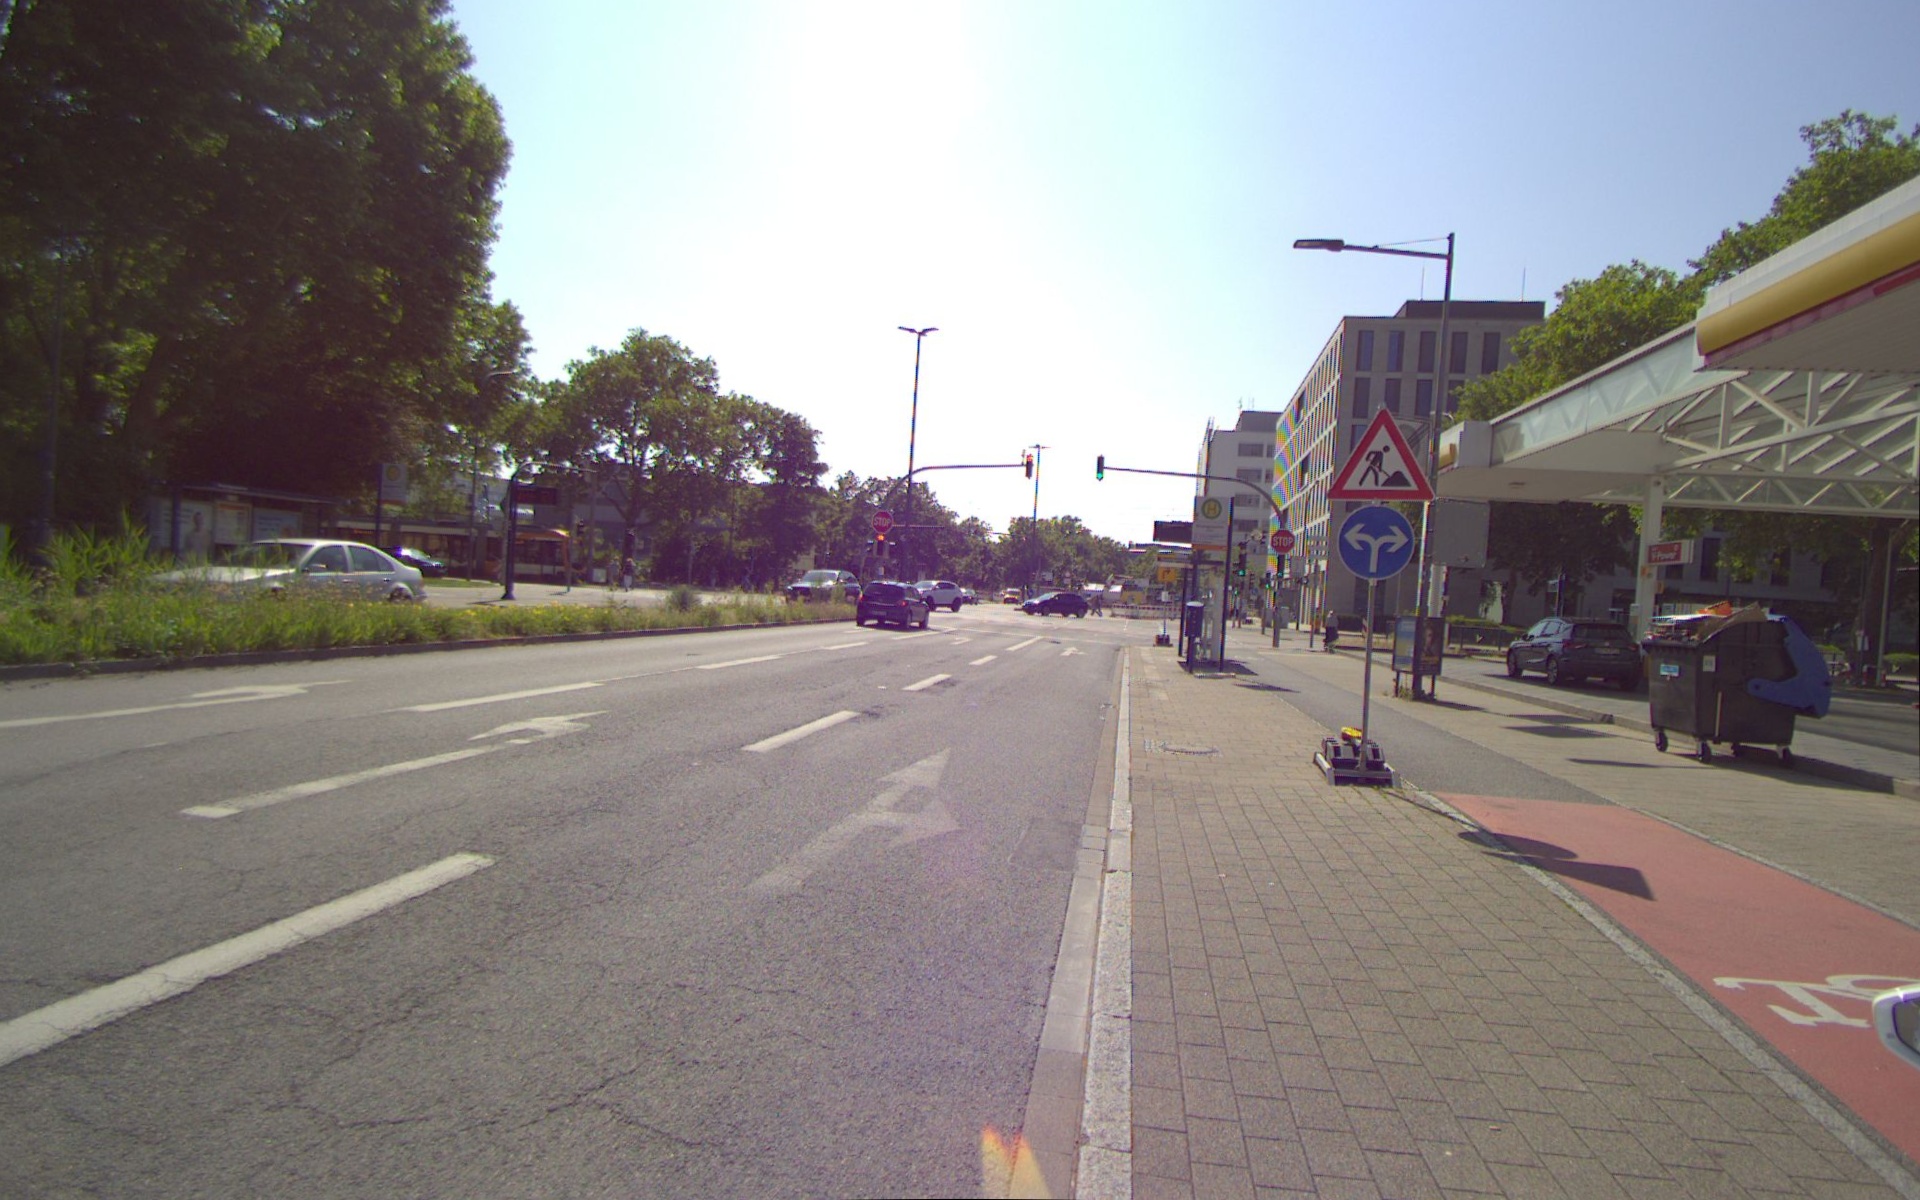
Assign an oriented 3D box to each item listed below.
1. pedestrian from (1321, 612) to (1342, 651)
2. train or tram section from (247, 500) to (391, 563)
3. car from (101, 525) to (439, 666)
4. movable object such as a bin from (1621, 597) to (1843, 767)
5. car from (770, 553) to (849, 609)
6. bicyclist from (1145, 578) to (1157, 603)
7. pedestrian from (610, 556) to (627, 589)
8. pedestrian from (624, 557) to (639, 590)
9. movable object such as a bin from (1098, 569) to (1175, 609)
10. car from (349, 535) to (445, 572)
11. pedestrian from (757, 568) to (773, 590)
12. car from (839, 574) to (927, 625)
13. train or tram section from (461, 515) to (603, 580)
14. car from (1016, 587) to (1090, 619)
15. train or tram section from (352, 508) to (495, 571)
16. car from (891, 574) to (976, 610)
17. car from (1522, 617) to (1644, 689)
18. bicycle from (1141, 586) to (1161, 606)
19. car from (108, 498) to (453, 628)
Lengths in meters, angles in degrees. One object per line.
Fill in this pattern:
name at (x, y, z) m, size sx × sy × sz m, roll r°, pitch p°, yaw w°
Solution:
pedestrian at (15.598, 1.312, 42.178) m, size 0.608 × 1.564 × 0.462 m, roll 4°, pitch 1°, yaw 9°
train or tram section at (-41.269, -4.391, 64.791) m, size 7.427 × 3.376 × 3.121 m, roll 4°, pitch 1°, yaw 8°
car at (-10.316, -0.228, 15.558) m, size 1.960 × 1.661 × 4.395 m, roll 4°, pitch 6°, yaw 4°
movable object such as a bin at (8.025, 0.799, 10.554) m, size 1.285 × 1.613 × 1.396 m, roll 2°, pitch 0°, yaw 7°
car at (-6.092, -0.735, 41.268) m, size 1.960 × 2.040 × 4.872 m, roll 4°, pitch 1°, yaw 6°
bicyclist at (21.173, -1.049, 111.174) m, size 1.051 × 2.608 × 0.828 m, roll 5°, pitch 1°, yaw 16°
pedestrian at (-18.526, -1.485, 54.497) m, size 0.649 × 1.749 × 0.752 m, roll 4°, pitch 1°, yaw -8°
pedestrian at (-17.863, -1.443, 54.589) m, size 0.558 × 1.749 × 0.732 m, roll 4°, pitch 1°, yaw -8°
movable object such as a bin at (23.323, -1.461, 132.628) m, size 9.511 × 4.610 × 3.165 m, roll 5°, pitch 1°, yaw 12°
car at (-25.590, -2.112, 45.675) m, size 3.439 × 1.395 × 1.638 m, roll 4°, pitch 1°, yaw 7°
pedestrian at (-14.918, -1.604, 76.791) m, size 0.645 × 1.633 × 0.939 m, roll 5°, pitch 1°, yaw 33°
car at (-2.435, -0.011, 32.713) m, size 1.960 × 1.416 × 4.002 m, roll 4°, pitch 1°, yaw 8°
train or tram section at (-26.602, -3.250, 62.626) m, size 7.427 × 3.376 × 3.121 m, roll 4°, pitch 1°, yaw 8°
car at (5.701, 0.176, 61.633) m, size 4.075 × 1.660 × 1.984 m, roll 4°, pitch 1°, yaw -30°
train or tram section at (-33.943, -3.806, 63.702) m, size 7.427 × 3.376 × 3.121 m, roll 4°, pitch 1°, yaw 8°
car at (-1.376, -0.389, 54.661) m, size 1.967 × 1.658 × 4.853 m, roll 5°, pitch 1°, yaw 36°
car at (14.421, 1.164, 23.442) m, size 1.623 × 1.416 × 3.641 m, roll 4°, pitch 1°, yaw 20°
bicycle at (21.142, -0.428, 111.187) m, size 2.053 × 1.987 × 0.828 m, roll 5°, pitch 1°, yaw 16°
car at (-10.324, -0.507, 15.788) m, size 1.858 × 1.631 × 4.521 m, roll 4°, pitch 1°, yaw 9°
